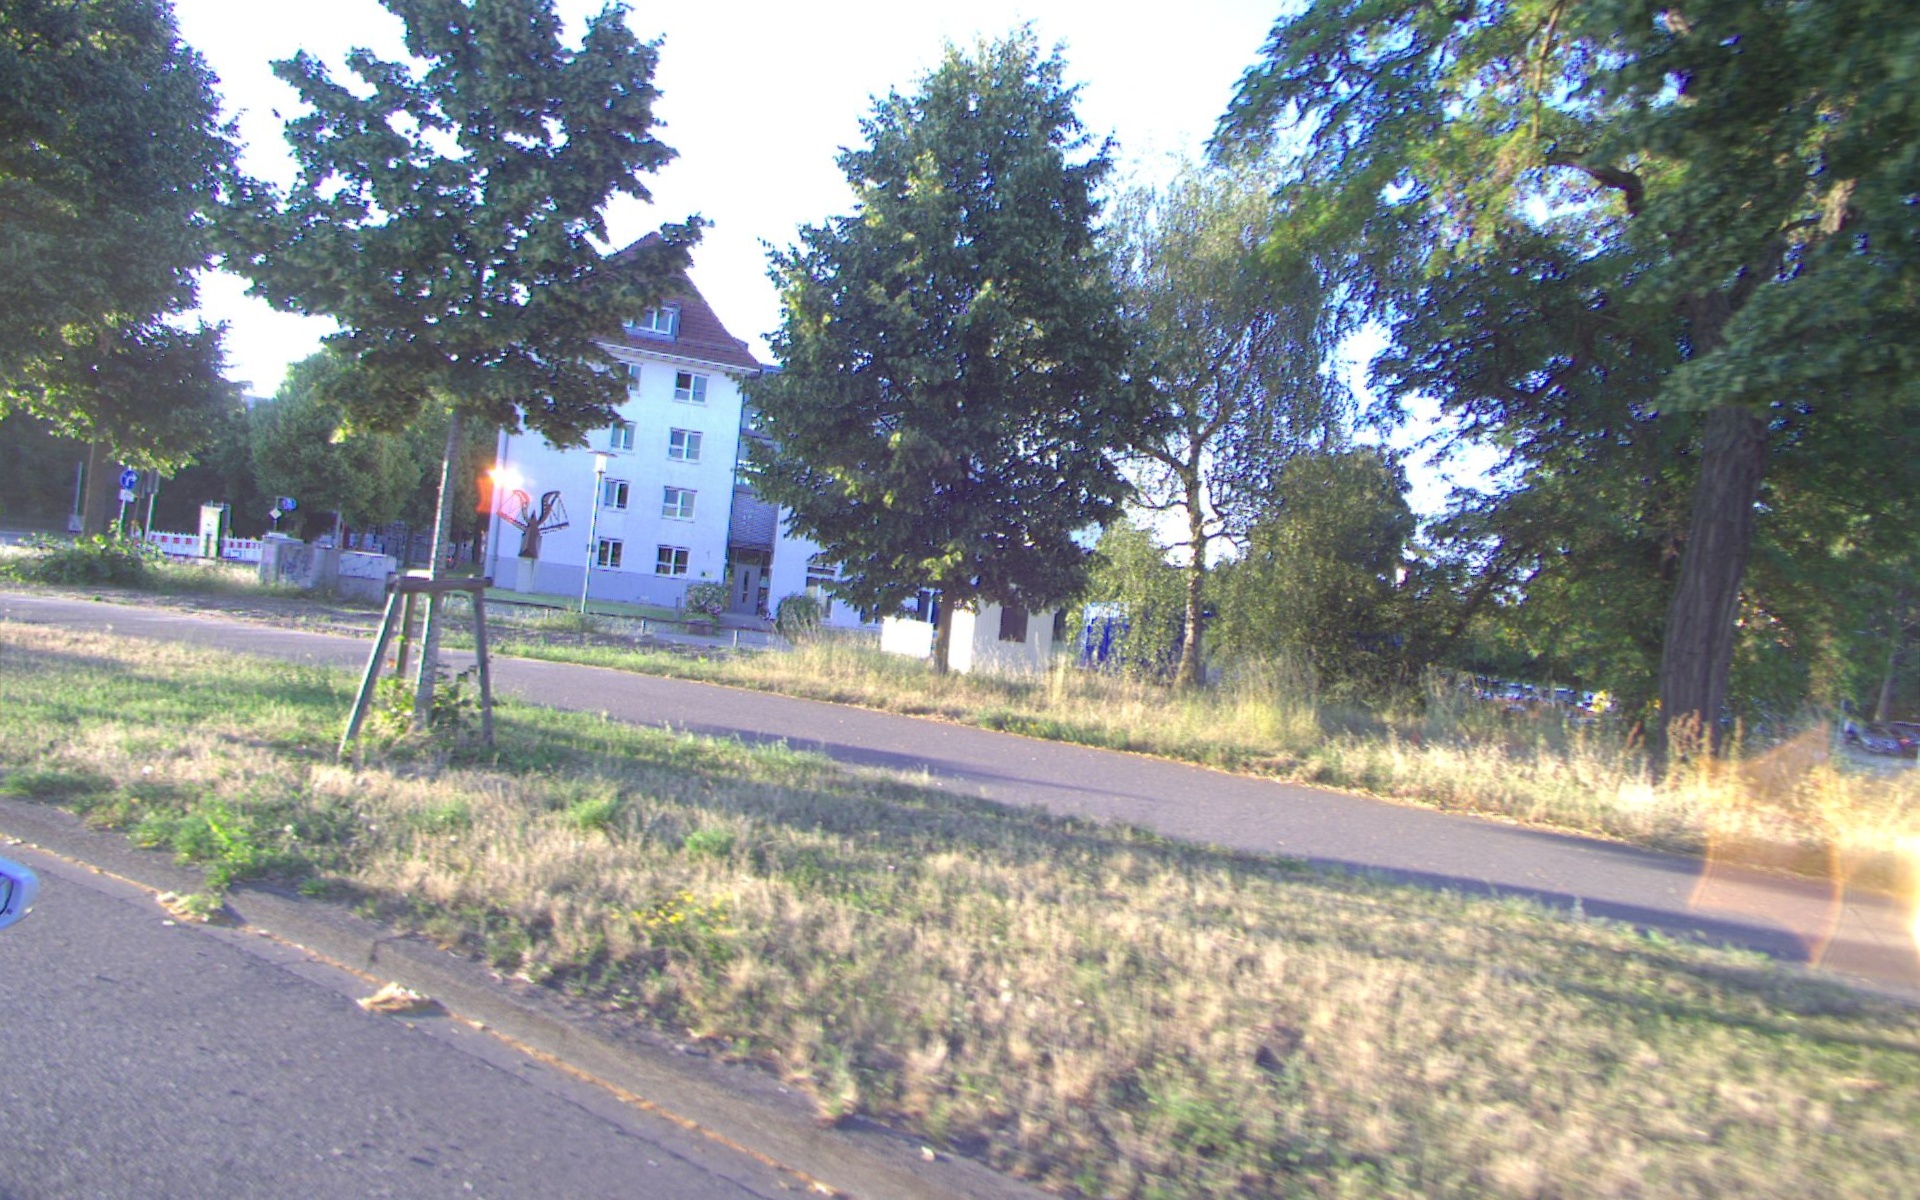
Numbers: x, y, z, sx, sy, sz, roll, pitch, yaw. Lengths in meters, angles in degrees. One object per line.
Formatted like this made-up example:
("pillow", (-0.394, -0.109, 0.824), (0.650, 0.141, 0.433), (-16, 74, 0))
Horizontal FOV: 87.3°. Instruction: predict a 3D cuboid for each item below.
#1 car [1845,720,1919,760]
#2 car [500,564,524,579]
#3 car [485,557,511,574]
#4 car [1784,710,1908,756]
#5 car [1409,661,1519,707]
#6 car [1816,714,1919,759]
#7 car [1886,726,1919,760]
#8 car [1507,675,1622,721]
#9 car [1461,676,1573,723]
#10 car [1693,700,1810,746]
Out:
("car", (47.925, 7.190, 51.058), (1.876, 1.572, 3.984), (7, -1, -19))
("car", (-58.531, -3.655, 131.454), (1.927, 1.621, 4.068), (7, -1, -14))
("car", (-55.475, -4.152, 120.788), (1.927, 1.621, 4.068), (7, -1, -14))
("car", (43.394, 6.493, 49.378), (1.876, 1.572, 4.083), (7, -1, -19))
("car", (22.063, 3.638, 44.215), (1.925, 1.463, 3.984), (7, -1, -19))
("car", (45.811, 6.843, 50.370), (1.876, 1.572, 3.984), (7, -1, -19))
("car", (50.770, 7.604, 51.840), (1.876, 1.572, 3.984), (7, -1, -19))
("car", (26.950, 4.364, 44.999), (1.925, 1.463, 3.984), (7, -1, -19))
("car", (24.623, 4.378, 44.596), (1.925, 1.463, 3.984), (7, -1, -19))
("car", (38.349, 5.943, 48.883), (1.876, 1.572, 3.984), (7, -1, -19))
